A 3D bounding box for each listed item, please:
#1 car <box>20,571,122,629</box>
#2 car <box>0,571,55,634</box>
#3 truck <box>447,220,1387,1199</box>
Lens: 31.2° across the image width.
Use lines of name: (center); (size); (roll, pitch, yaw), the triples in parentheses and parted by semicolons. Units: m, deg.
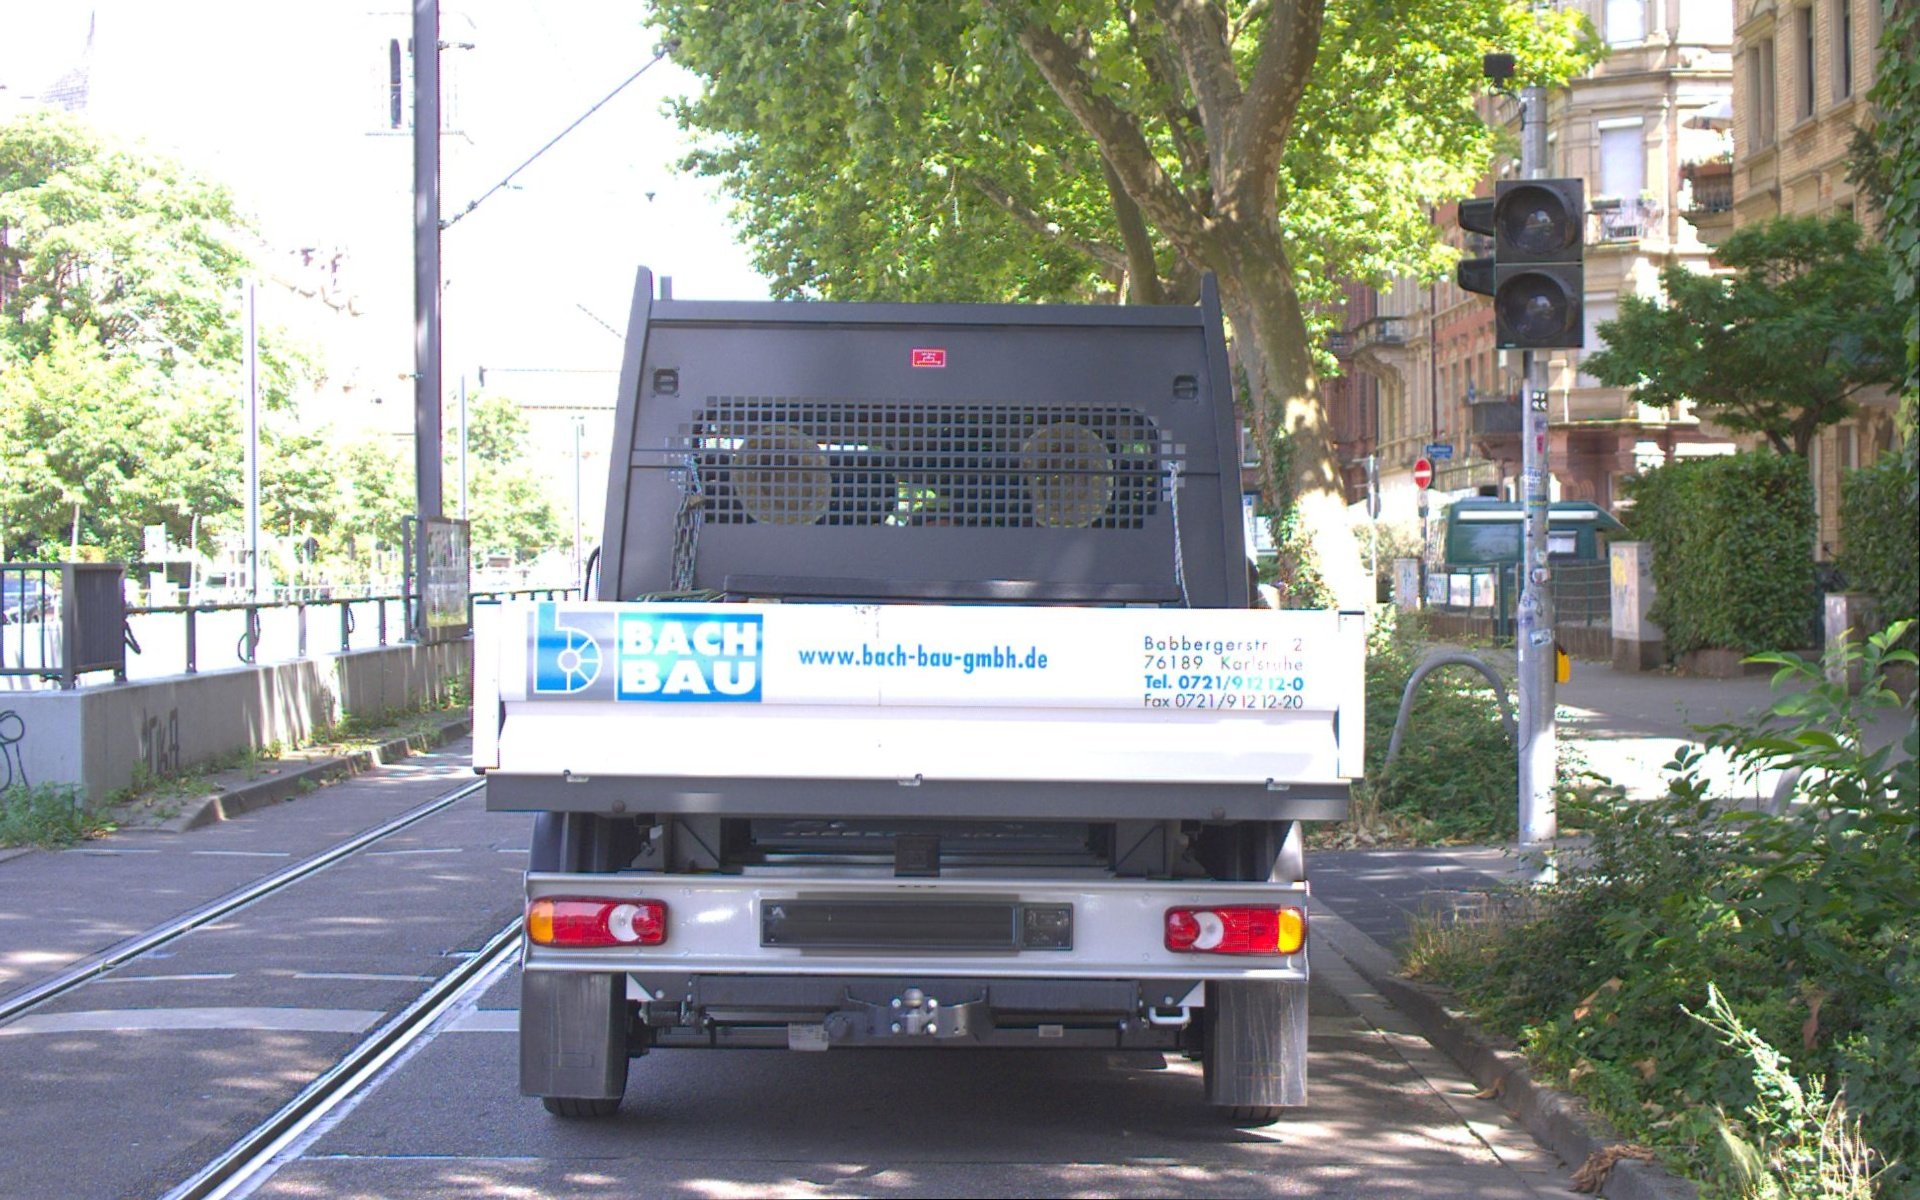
car: (-23.550, -0.024, 91.192); (1.770, 1.493, 4.000); (0, 1, -2)
car: (-23.299, 0.049, 83.355); (1.770, 1.493, 4.000); (0, 1, -2)
truck: (-0.086, 0.269, 10.066); (2.138, 2.311, 4.401); (0, 1, 0)
